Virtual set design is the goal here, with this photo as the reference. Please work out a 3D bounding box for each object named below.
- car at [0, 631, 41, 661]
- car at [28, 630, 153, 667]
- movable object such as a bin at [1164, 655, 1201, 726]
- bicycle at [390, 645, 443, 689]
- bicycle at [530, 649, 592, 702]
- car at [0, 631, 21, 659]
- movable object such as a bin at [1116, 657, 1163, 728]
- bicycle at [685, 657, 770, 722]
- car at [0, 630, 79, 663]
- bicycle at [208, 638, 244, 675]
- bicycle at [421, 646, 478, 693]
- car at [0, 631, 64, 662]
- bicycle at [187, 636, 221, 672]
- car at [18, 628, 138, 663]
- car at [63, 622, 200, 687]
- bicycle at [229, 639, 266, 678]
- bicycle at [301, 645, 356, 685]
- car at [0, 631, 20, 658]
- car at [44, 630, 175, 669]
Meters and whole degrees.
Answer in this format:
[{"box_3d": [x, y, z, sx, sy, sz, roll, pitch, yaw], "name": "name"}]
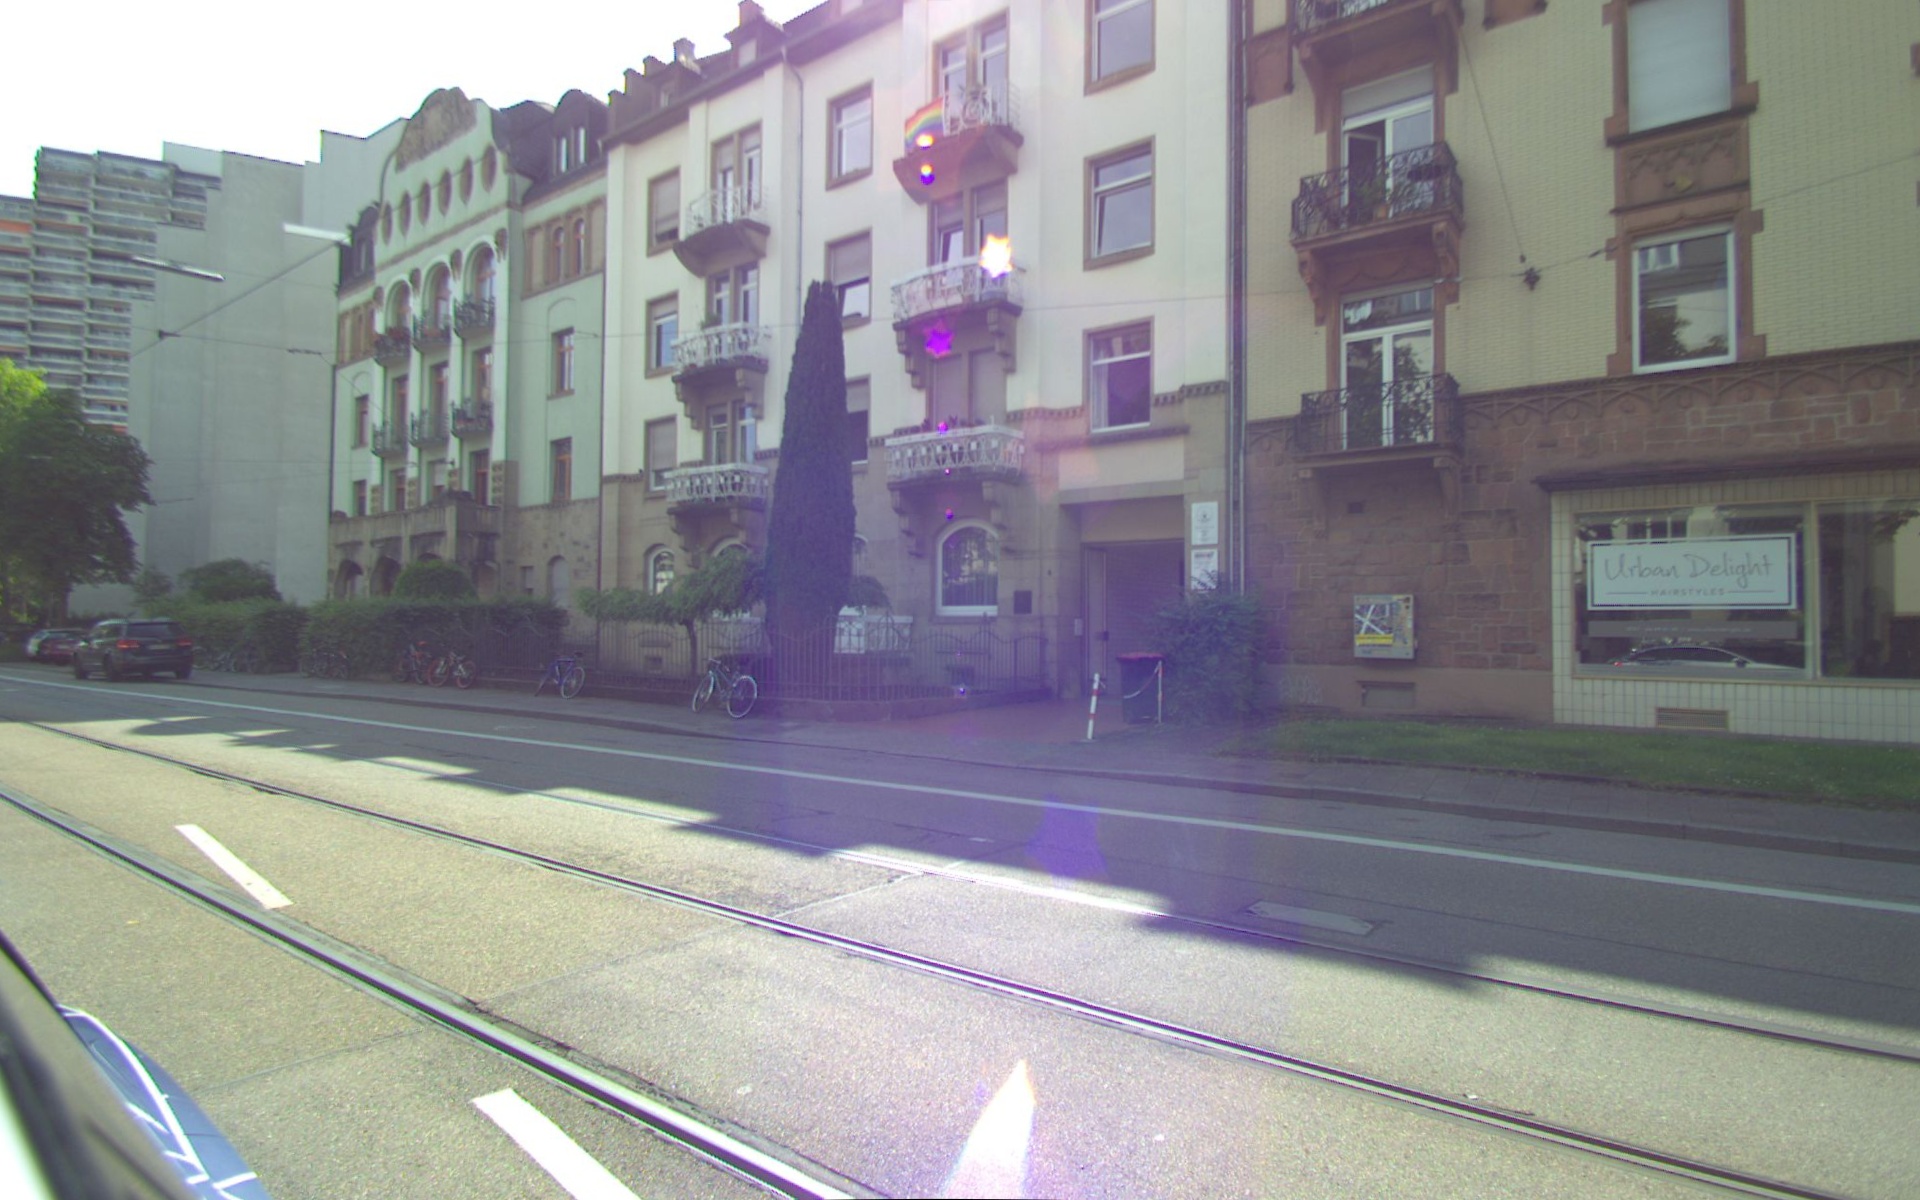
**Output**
[{"box_3d": [-50.085, 2.376, 52.184, 3.939, 1.519, 2.002, 2, -3, -42], "name": "car"}, {"box_3d": [-37.000, 2.055, 43.121, 3.939, 1.519, 2.002, 2, -3, -42], "name": "car"}, {"box_3d": [3.366, 1.359, 15.341, 0.531, 1.037, 0.475, 0, -2, 10], "name": "movable object such as a bin"}, {"box_3d": [-13.026, 1.592, 24.239, 1.785, 1.003, 0.462, -1, -3, 40], "name": "bicycle"}, {"box_3d": [-8.012, 1.495, 20.295, 0.461, 1.003, 1.788, 3, -3, -45], "name": "bicycle"}, {"box_3d": [-52.782, 2.397, 53.958, 3.939, 1.519, 2.002, 2, -3, -42], "name": "car"}, {"box_3d": [2.712, 1.383, 15.290, 0.697, 1.037, 0.475, 0, -2, 12], "name": "movable object such as a bin"}, {"box_3d": [-3.929, 1.474, 17.006, 0.461, 1.003, 1.980, 2, -3, -43], "name": "bicycle"}, {"box_3d": [-44.936, 2.224, 48.573, 3.939, 1.519, 2.002, 2, -3, -42], "name": "car"}, {"box_3d": [-23.414, 1.789, 32.281, 1.785, 1.144, 0.462, -1, -3, 40], "name": "bicycle"}, {"box_3d": [-11.606, 1.560, 22.980, 1.785, 1.003, 0.462, -1, -3, 40], "name": "bicycle"}, {"box_3d": [-47.398, 2.295, 50.543, 3.939, 1.519, 2.002, 2, -3, -42], "name": "car"}, {"box_3d": [-25.073, 1.781, 33.565, 1.785, 1.144, 0.462, -1, -3, 40], "name": "bicycle"}, {"box_3d": [-39.614, 2.044, 45.526, 3.939, 1.519, 2.002, 2, -3, -42], "name": "car"}, {"box_3d": [-23.613, 1.504, 28.802, 4.392, 1.708, 1.899, -1, -2, 36], "name": "car"}, {"box_3d": [-21.885, 1.775, 31.084, 1.785, 1.144, 0.462, -1, -3, 40], "name": "bicycle"}, {"box_3d": [-16.507, 1.684, 26.439, 1.979, 1.003, 0.597, -1, -3, 40], "name": "bicycle"}, {"box_3d": [-54.979, 2.467, 56.254, 3.939, 1.519, 2.002, 2, -3, -42], "name": "car"}, {"box_3d": [-34.310, 1.979, 40.875, 3.939, 1.519, 2.002, 2, -3, -42], "name": "car"}]
